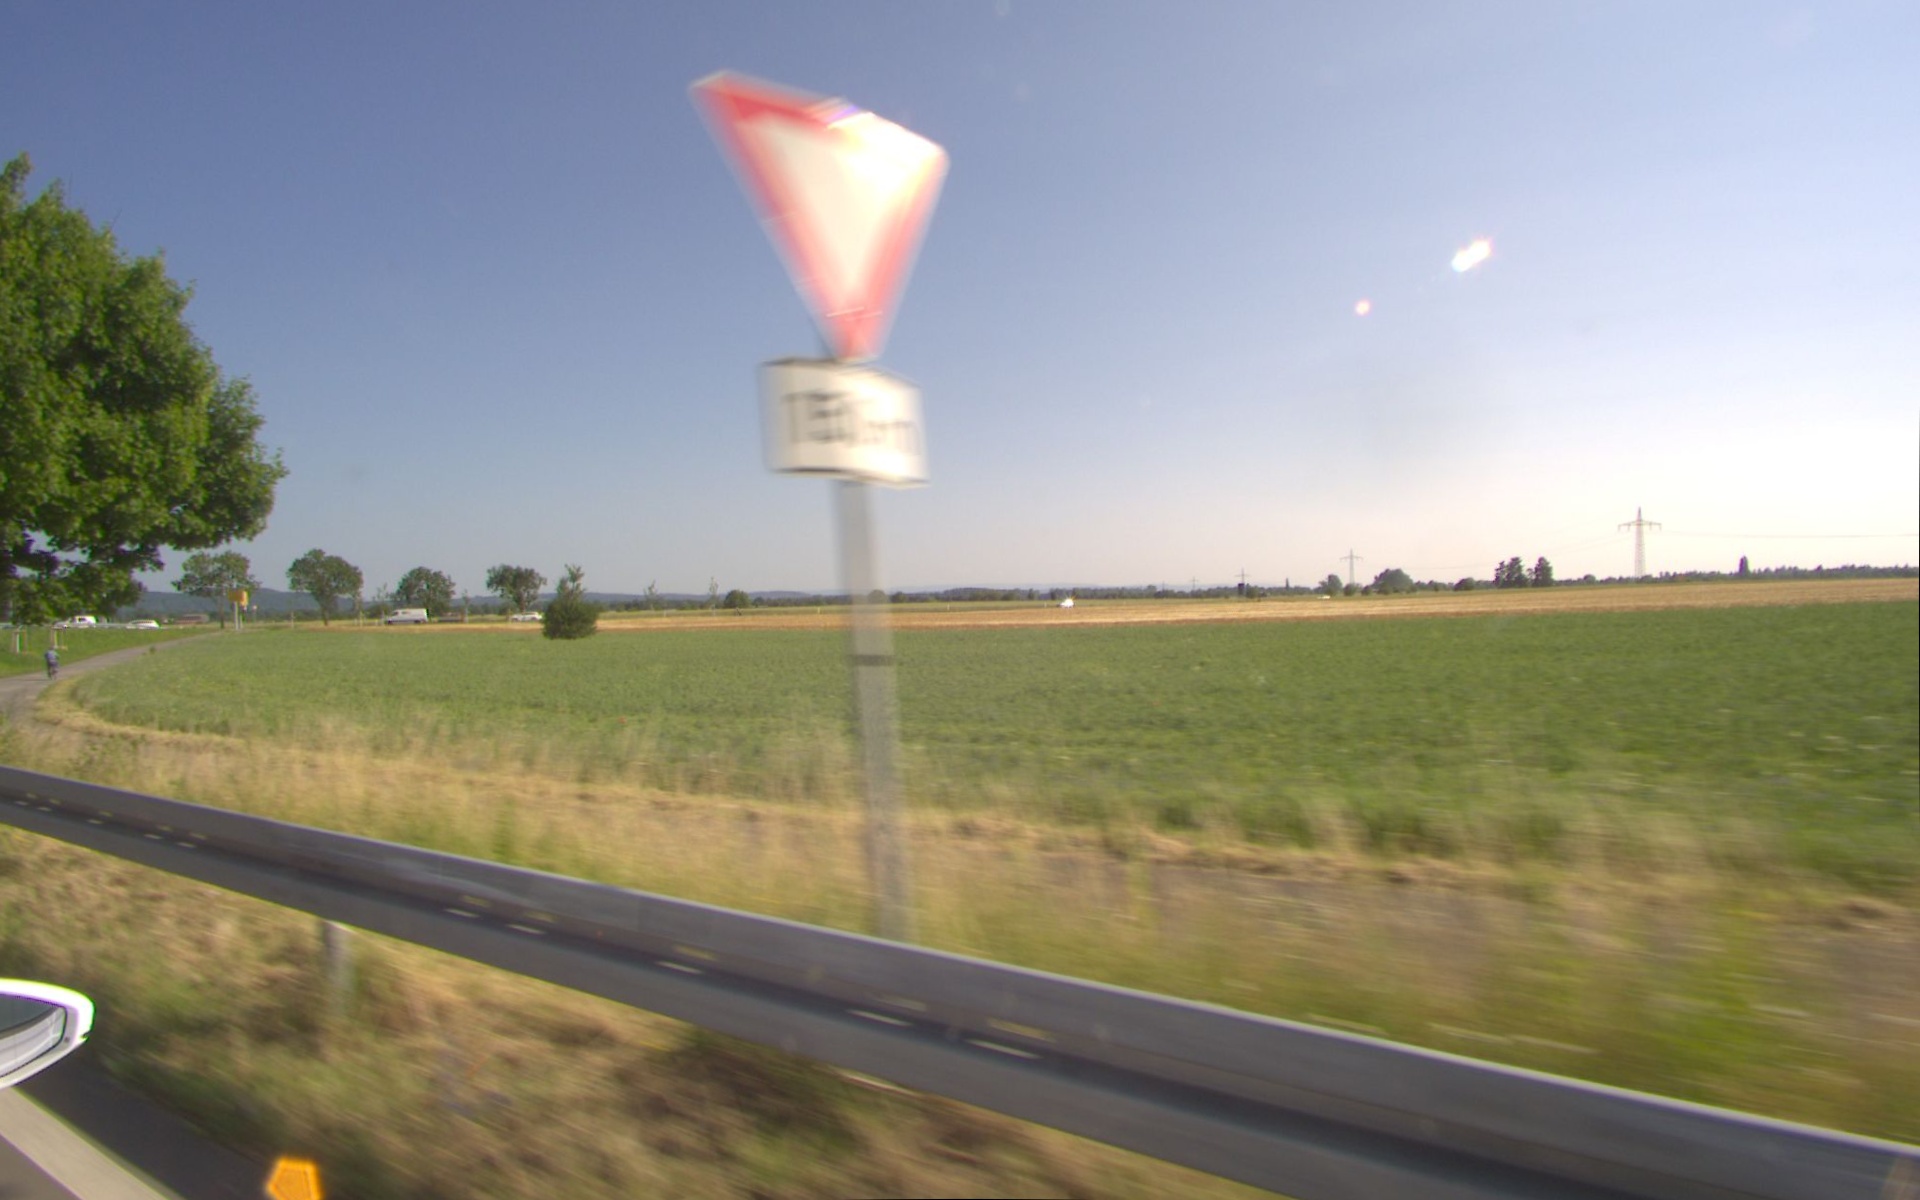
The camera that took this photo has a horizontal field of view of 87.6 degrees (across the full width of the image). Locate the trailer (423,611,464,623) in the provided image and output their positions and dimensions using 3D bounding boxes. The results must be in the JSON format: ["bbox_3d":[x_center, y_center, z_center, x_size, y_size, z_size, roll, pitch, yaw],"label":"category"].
[{"bbox_3d":[-77.828,2.549,150.930,5.186,1.776,1.950,-1,-1,-19],"label":"trailer"}]

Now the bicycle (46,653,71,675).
[{"bbox_3d":[-47.051,3.348,52.268,0.750,1.047,1.916,0,0,-36],"label":"bicycle"}]

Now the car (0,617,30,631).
[{"bbox_3d":[-112.411,2.874,119.113,1.776,1.468,4.676,1,1,-32],"label":"car"}]

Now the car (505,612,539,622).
[{"bbox_3d":[-67.851,2.652,155.259,4.804,1.529,1.995,1,-2,-22],"label":"car"}]

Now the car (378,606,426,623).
[{"bbox_3d":[-83.046,2.152,149.085,5.874,2.524,1.996,1,-2,-19],"label":"car"}]
